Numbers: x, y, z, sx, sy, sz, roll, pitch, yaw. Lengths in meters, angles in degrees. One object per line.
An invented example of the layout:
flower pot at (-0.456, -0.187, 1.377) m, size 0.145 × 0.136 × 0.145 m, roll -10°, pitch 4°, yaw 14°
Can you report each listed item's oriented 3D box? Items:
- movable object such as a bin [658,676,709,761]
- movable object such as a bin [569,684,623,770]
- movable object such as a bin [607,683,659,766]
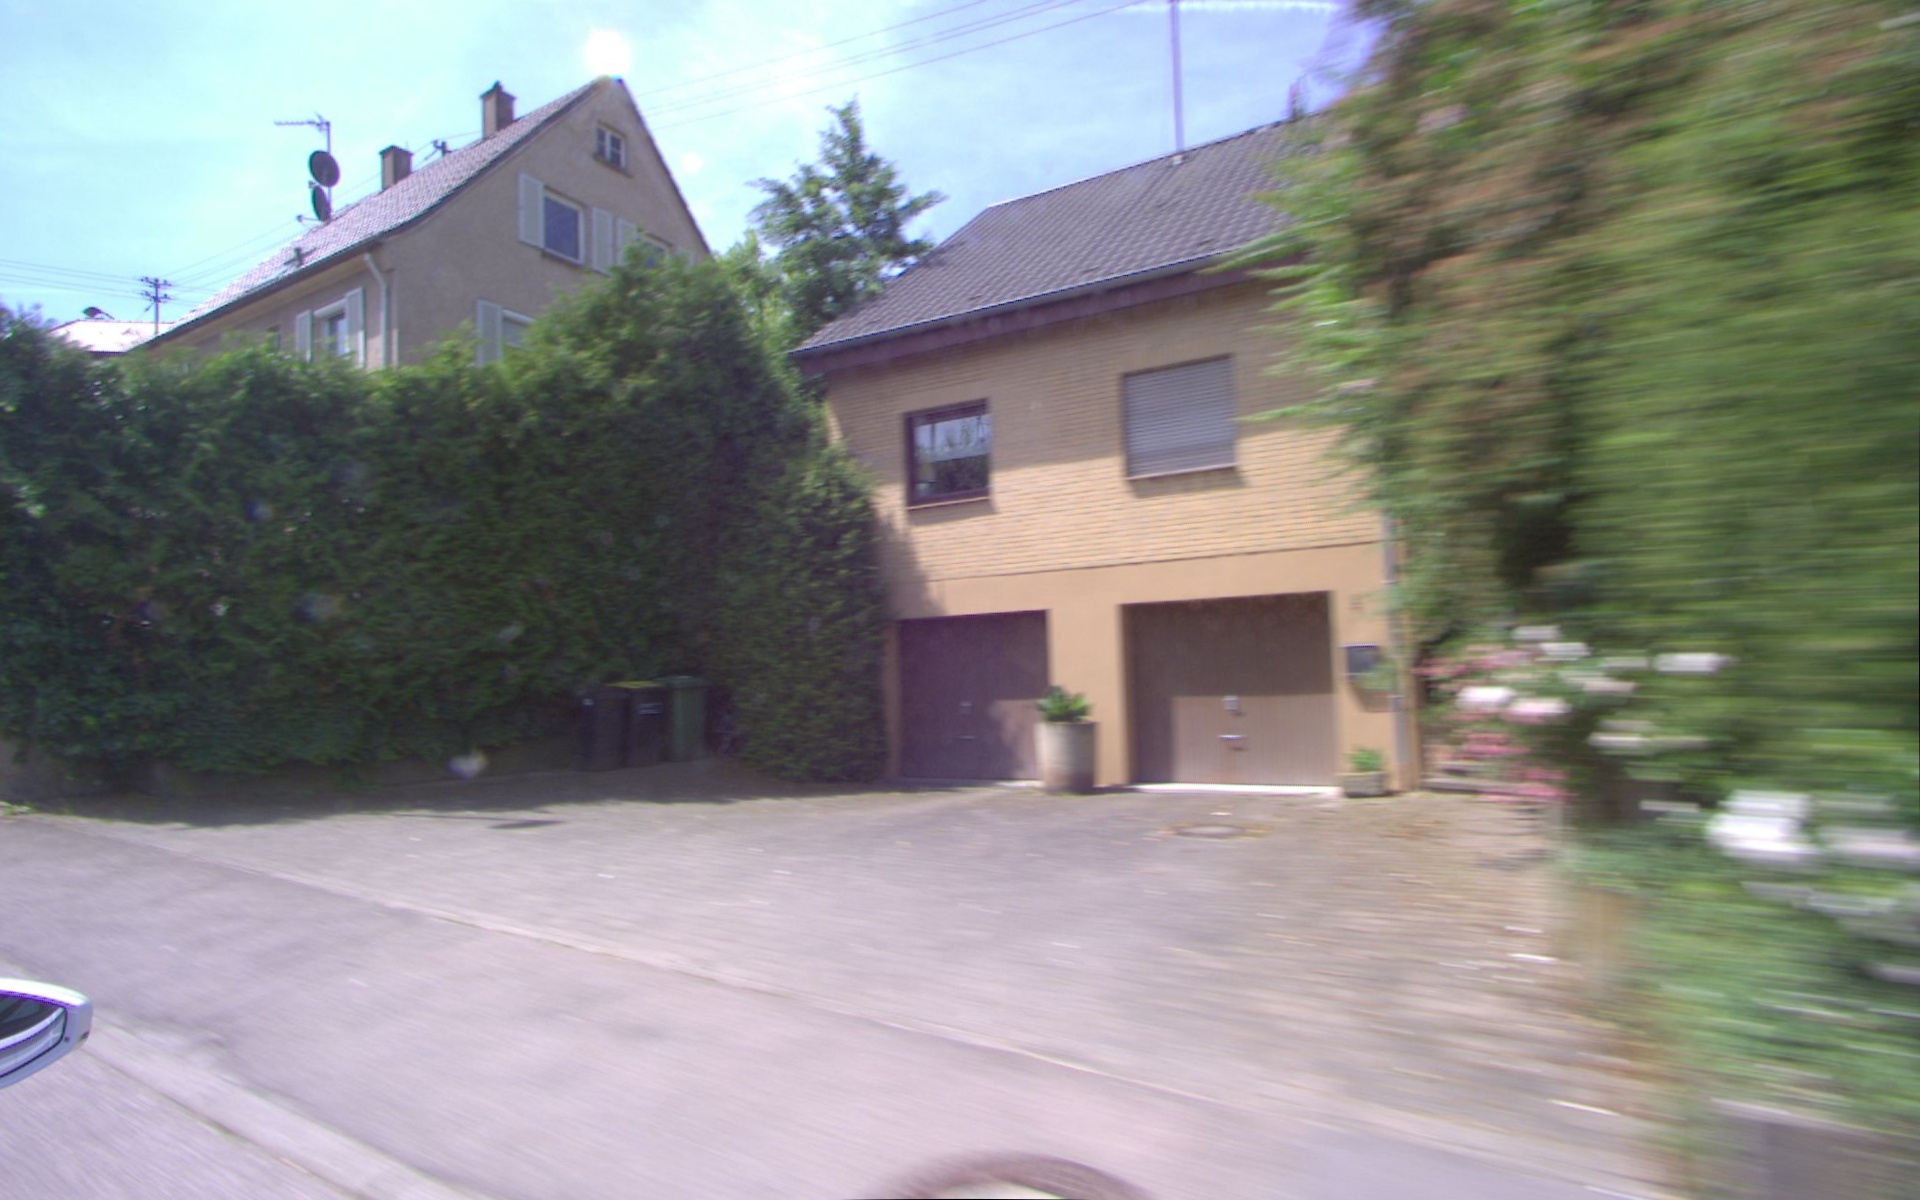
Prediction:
movable object such as a bin at (-3.564, 1.516, 12.917) m, size 0.466 × 1.064 × 0.400 m, roll -1°, pitch -3°, yaw 31°
movable object such as a bin at (-4.340, 1.506, 11.950) m, size 0.466 × 0.985 × 0.386 m, roll -1°, pitch -3°, yaw 31°
movable object such as a bin at (-4.039, 1.527, 12.383) m, size 0.466 × 0.985 × 0.386 m, roll -1°, pitch -3°, yaw 31°
